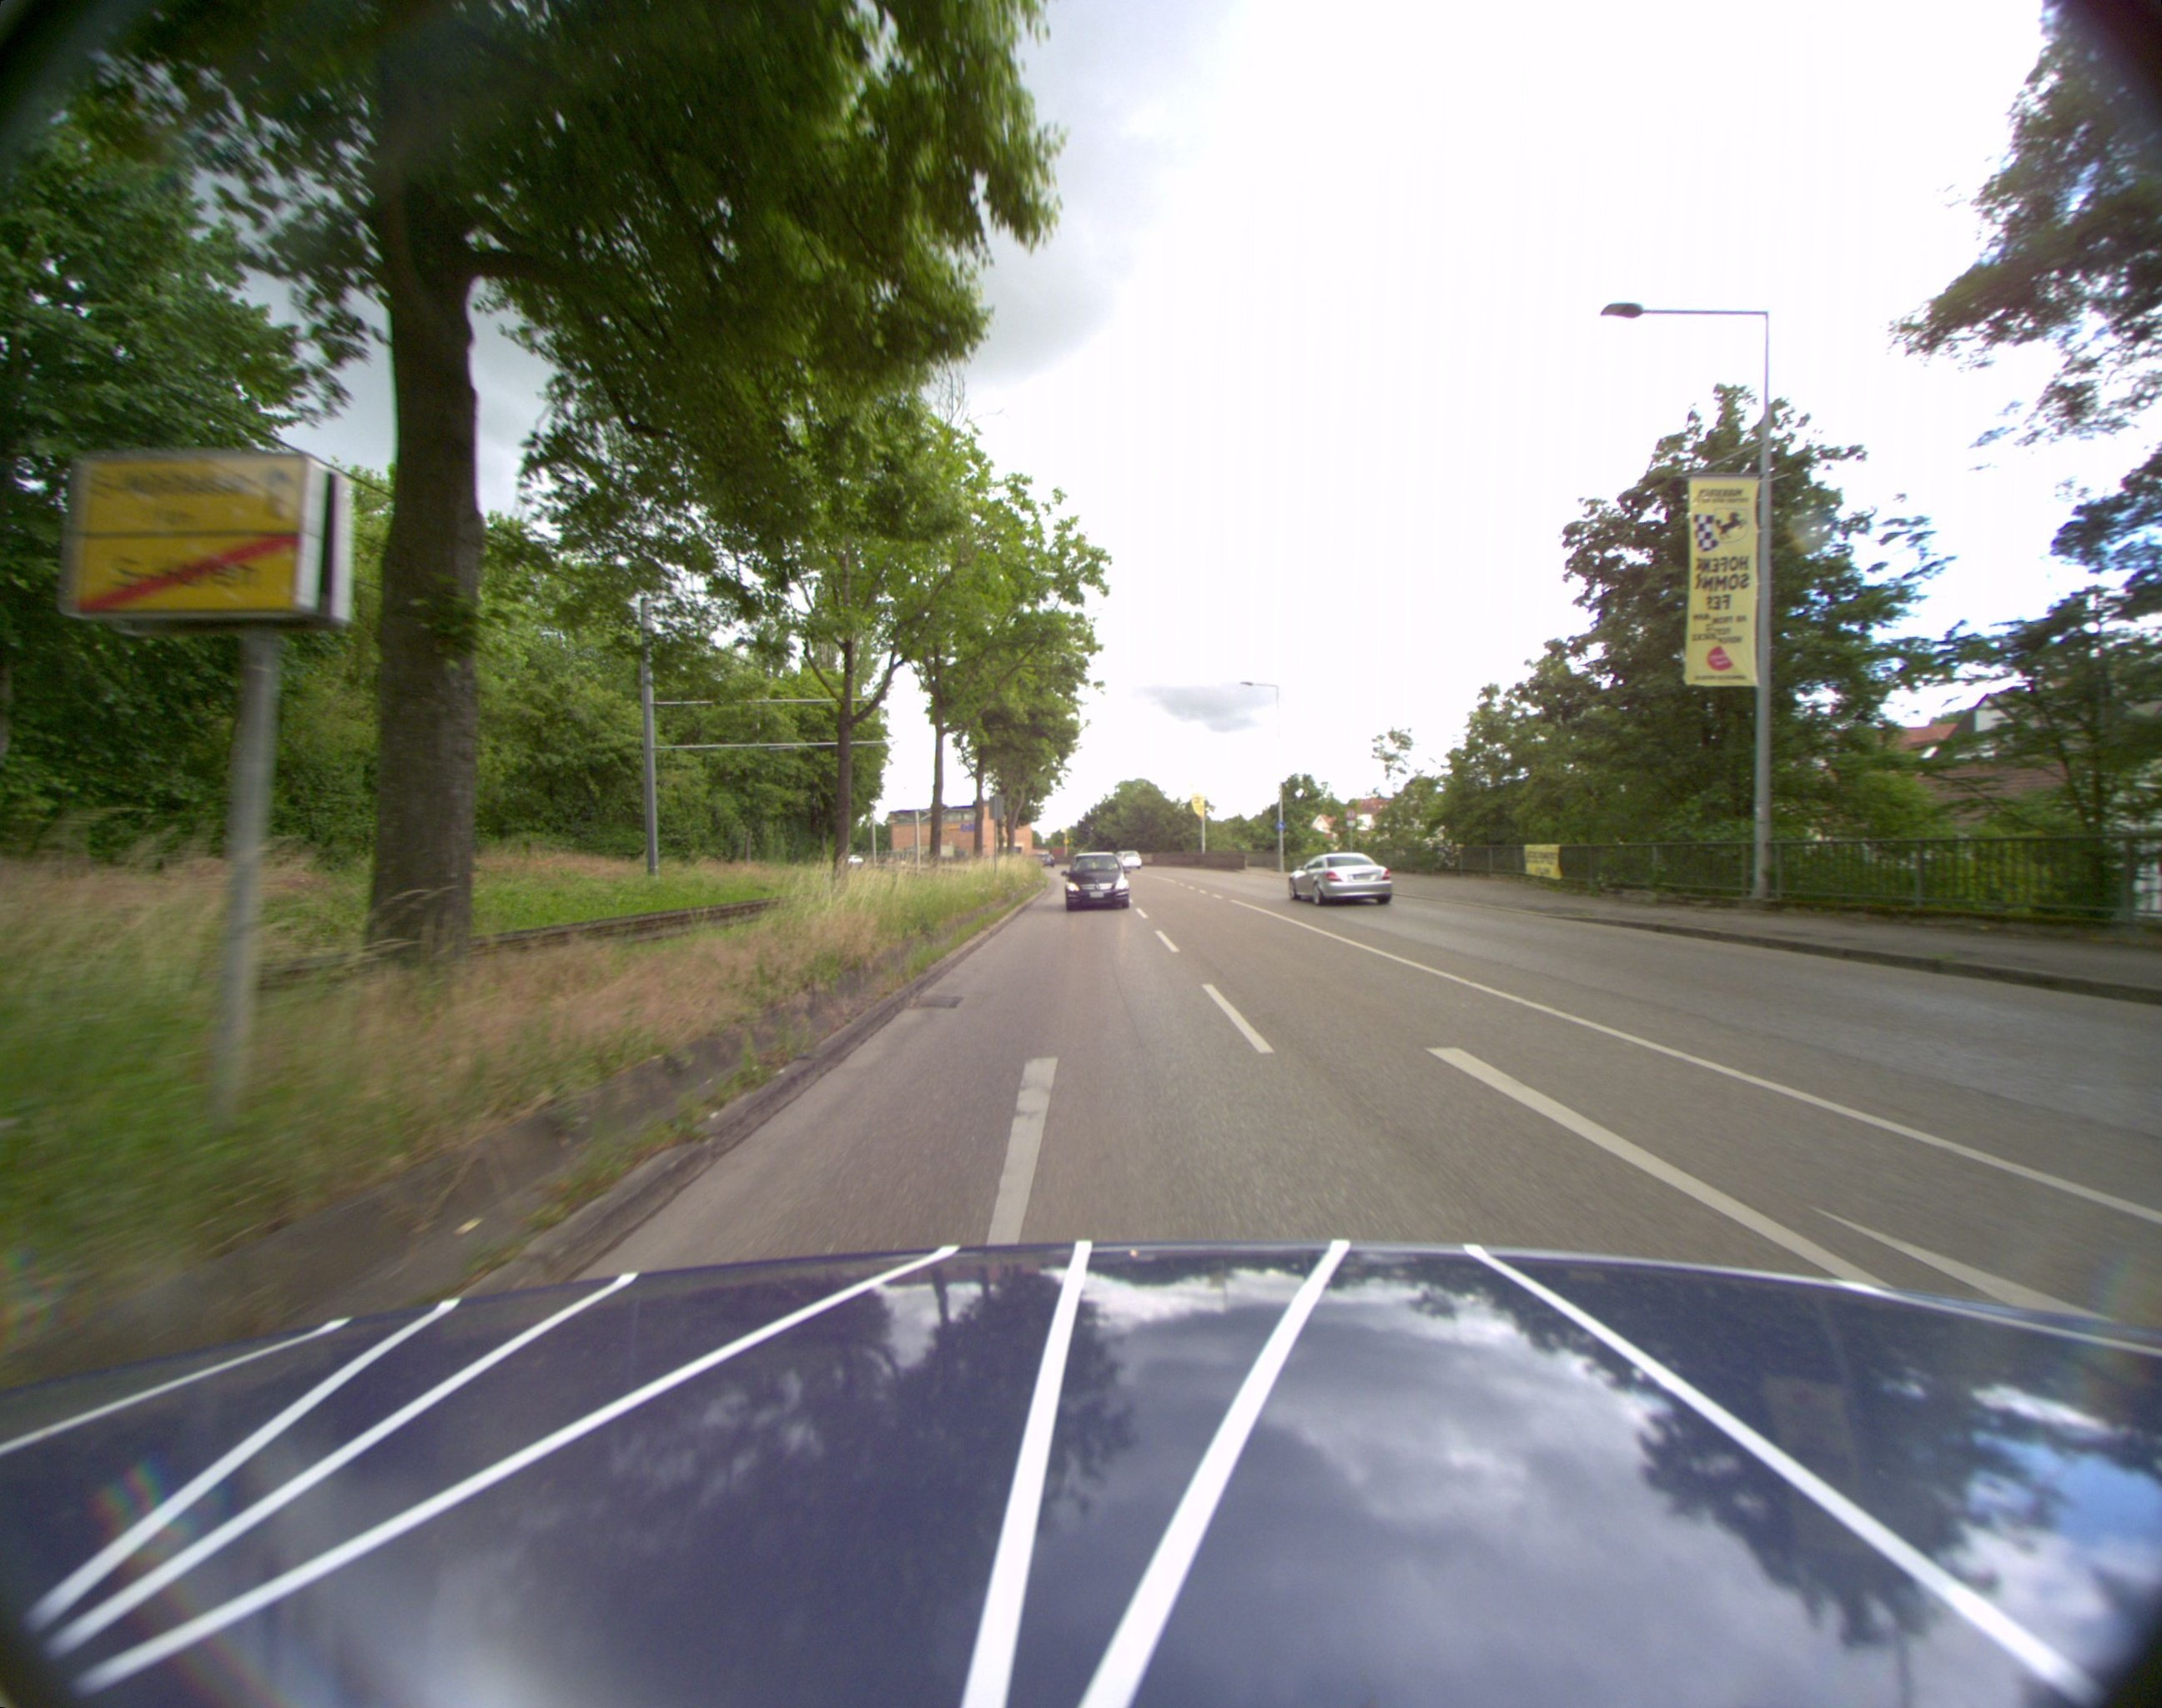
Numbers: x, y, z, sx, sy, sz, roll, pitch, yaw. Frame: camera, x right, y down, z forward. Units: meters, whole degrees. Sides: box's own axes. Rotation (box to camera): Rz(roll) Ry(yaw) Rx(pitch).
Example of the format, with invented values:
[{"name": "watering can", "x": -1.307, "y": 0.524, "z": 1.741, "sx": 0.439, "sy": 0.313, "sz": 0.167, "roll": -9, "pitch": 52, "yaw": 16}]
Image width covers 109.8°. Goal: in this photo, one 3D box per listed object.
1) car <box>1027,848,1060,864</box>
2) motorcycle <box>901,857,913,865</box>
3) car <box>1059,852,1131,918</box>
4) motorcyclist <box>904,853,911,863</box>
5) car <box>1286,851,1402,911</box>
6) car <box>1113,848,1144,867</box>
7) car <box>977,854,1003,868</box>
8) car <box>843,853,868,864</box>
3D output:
[{"name": "car", "x": -4.092, "y": 0.259, "z": 82.006, "sx": 1.728, "sy": 1.598, "sz": 4.004, "roll": -3, "pitch": 1, "yaw": -32}, {"name": "motorcycle", "x": -24.794, "y": 0.959, "z": 108.315, "sx": 1.715, "sy": 1.055, "sz": 0.686, "roll": -1, "pitch": 1, "yaw": 38}, {"name": "car", "x": 0.308, "y": 0.780, "z": 21.479, "sx": 1.751, "sy": 1.556, "sz": 4.073, "roll": -3, "pitch": 1, "yaw": -2}, {"name": "motorcyclist", "x": -24.713, "y": 0.526, "z": 108.209, "sx": 0.838, "sy": 1.348, "sz": 0.622, "roll": -1, "pitch": 1, "yaw": 38}, {"name": "car", "x": 6.714, "y": 0.635, "z": 19.788, "sx": 1.762, "sy": 1.329, "sz": 3.696, "roll": -2, "pitch": 0, "yaw": 1}, {"name": "car", "x": 3.850, "y": 0.320, "z": 62.638, "sx": 1.586, "sy": 1.457, "sz": 3.692, "roll": -1, "pitch": -1, "yaw": -12}, {"name": "car", "x": -10.832, "y": 0.797, "z": 90.541, "sx": 1.588, "sy": 1.477, "sz": 3.687, "roll": -4, "pitch": 1, "yaw": -32}, {"name": "car", "x": -34.461, "y": 0.701, "z": 116.063, "sx": 3.645, "sy": 1.478, "sz": 1.755, "roll": -3, "pitch": 1, "yaw": 34}]
